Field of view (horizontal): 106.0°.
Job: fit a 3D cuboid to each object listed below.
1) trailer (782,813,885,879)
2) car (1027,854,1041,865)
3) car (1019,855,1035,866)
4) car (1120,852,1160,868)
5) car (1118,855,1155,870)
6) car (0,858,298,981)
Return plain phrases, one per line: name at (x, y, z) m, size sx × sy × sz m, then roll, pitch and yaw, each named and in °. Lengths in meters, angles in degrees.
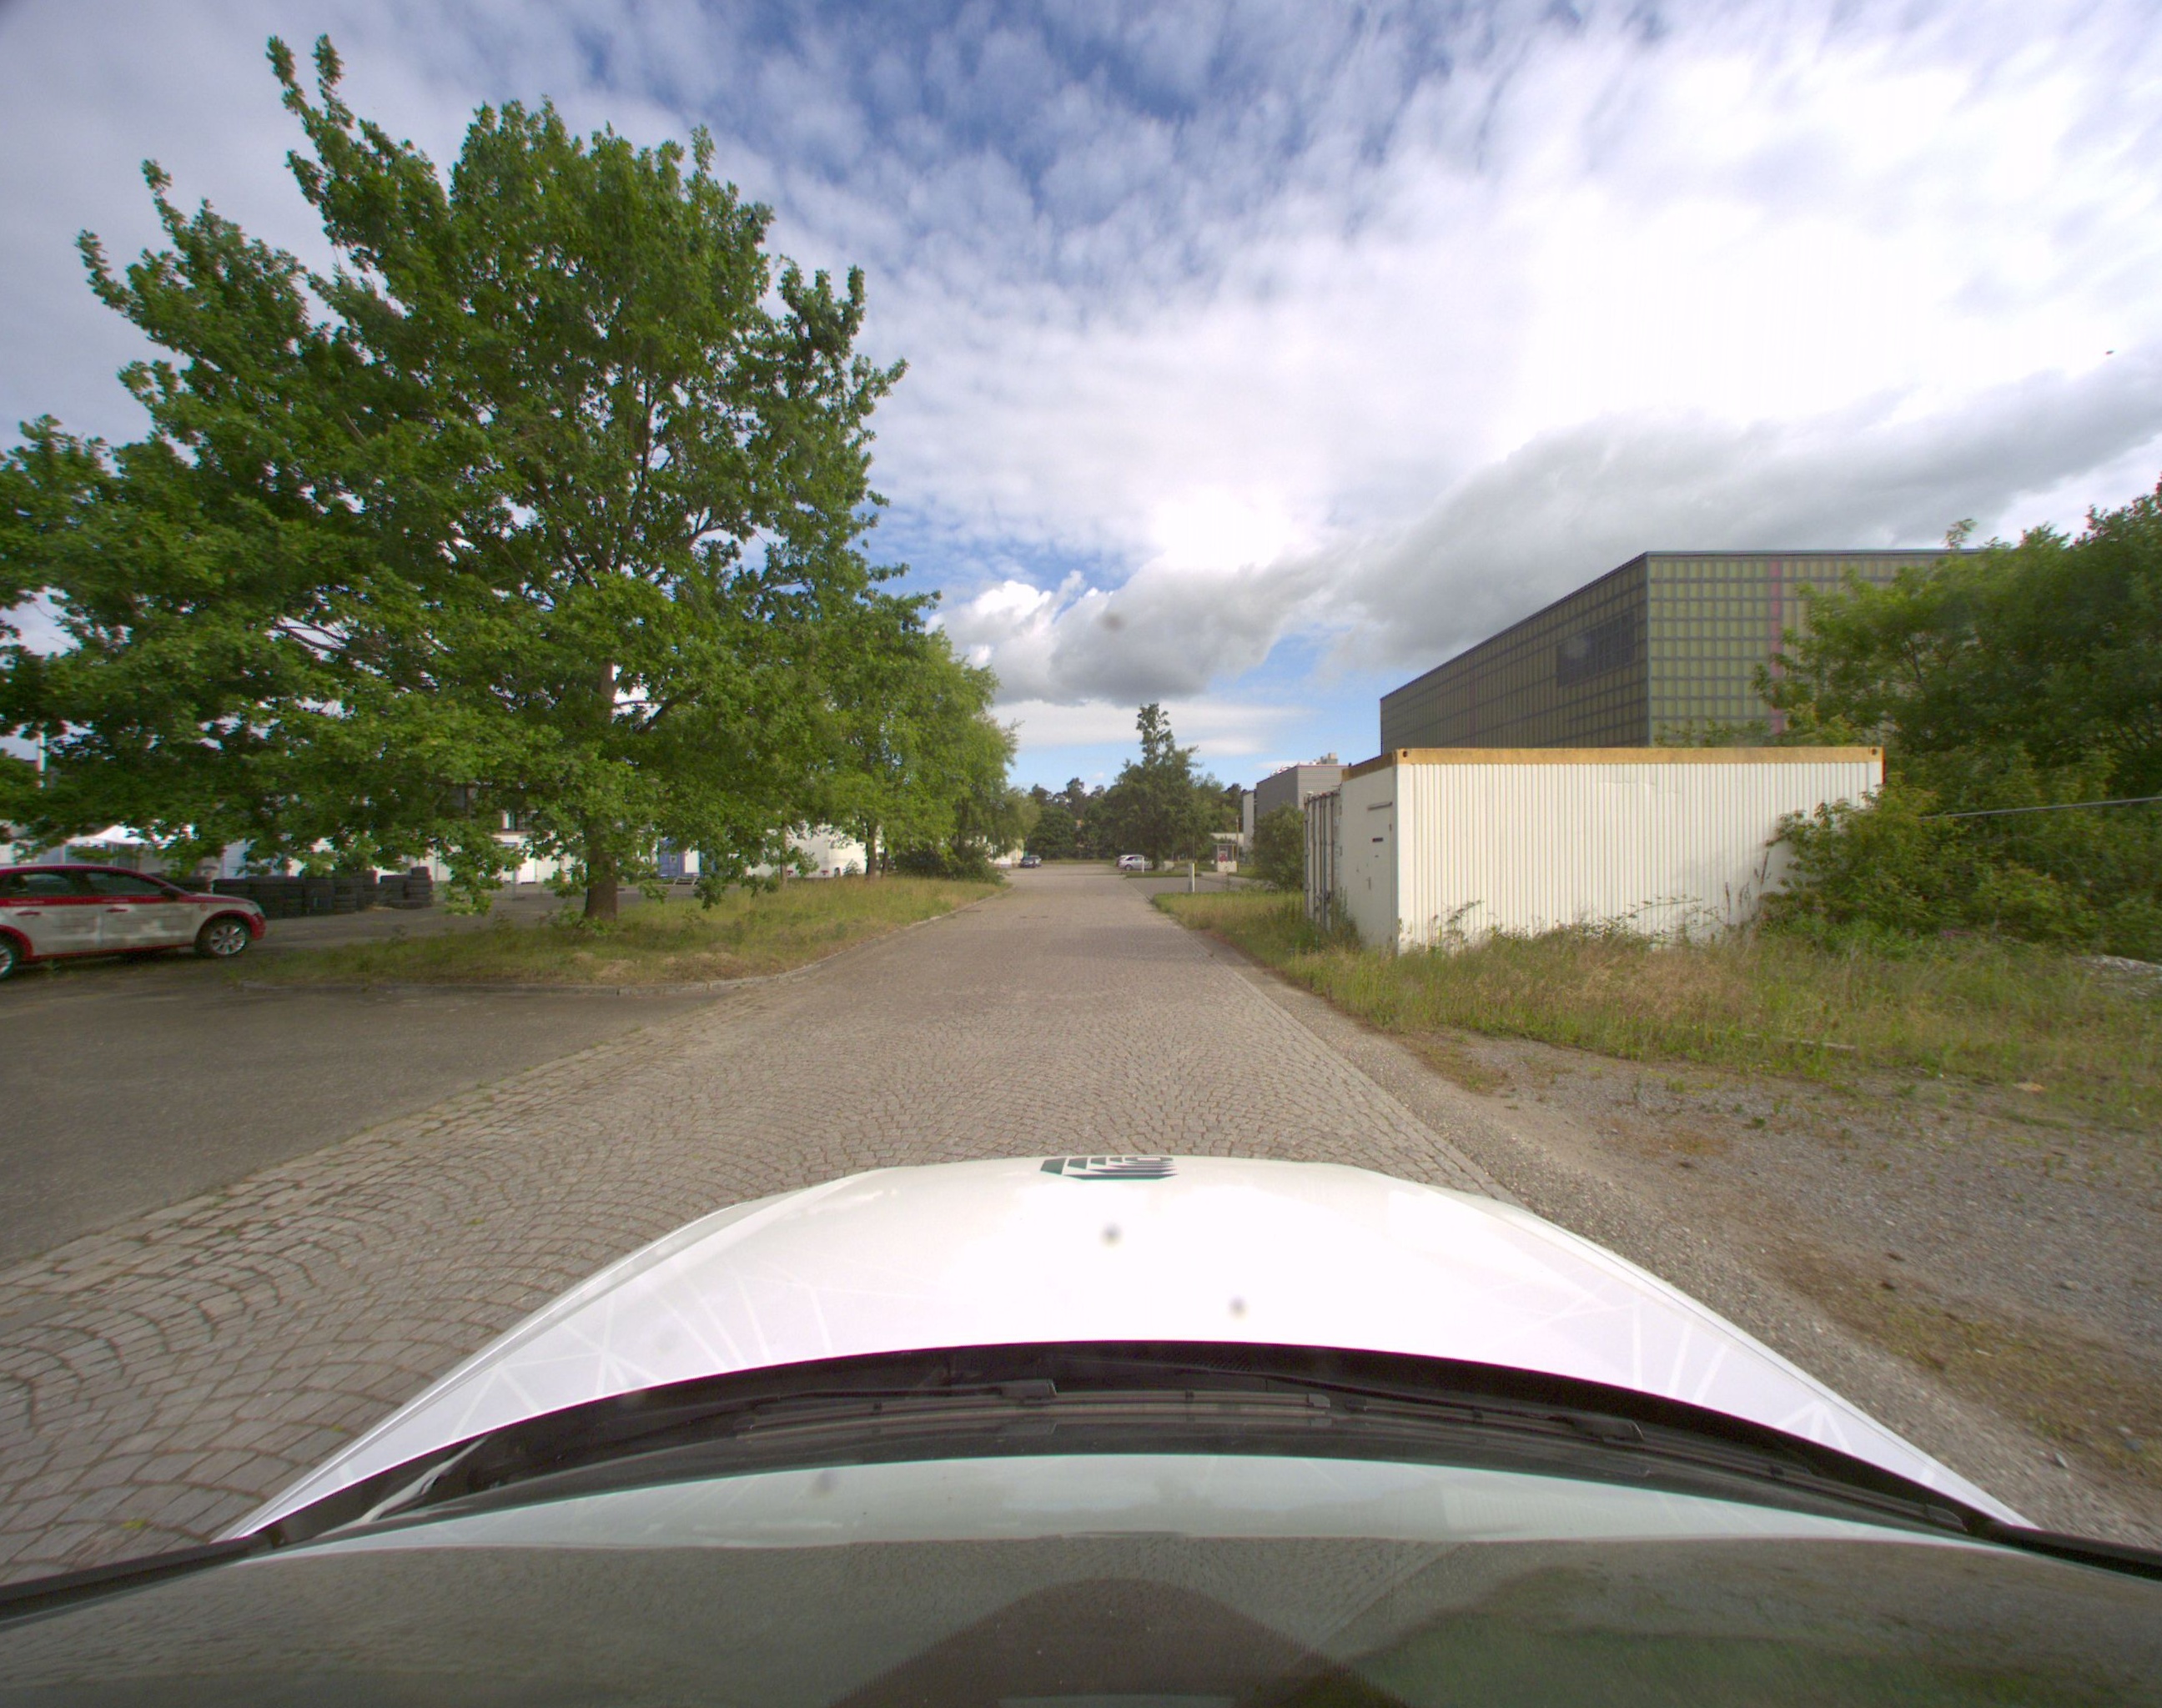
trailer at (-14.743, -0.431, 49.545) m, size 2.614 × 3.598 × 10.185 m, roll 0°, pitch 0°, yaw 3°
car at (-6.380, 0.699, 111.457) m, size 1.642 × 1.458 × 3.998 m, roll 0°, pitch 0°, yaw 1°
car at (-6.653, 0.757, 101.115) m, size 1.642 × 1.369 × 3.998 m, roll 0°, pitch 0°, yaw 1°
car at (5.941, 0.565, 82.189) m, size 3.970 × 1.448 × 1.653 m, roll -2°, pitch 0°, yaw 1°
car at (5.366, 0.848, 79.495) m, size 3.510 × 1.362 × 1.623 m, roll -2°, pitch 0°, yaw 1°
car at (-13.760, 0.811, 11.287) m, size 1.617 × 1.433 × 4.071 m, roll 0°, pitch 0°, yaw 6°
